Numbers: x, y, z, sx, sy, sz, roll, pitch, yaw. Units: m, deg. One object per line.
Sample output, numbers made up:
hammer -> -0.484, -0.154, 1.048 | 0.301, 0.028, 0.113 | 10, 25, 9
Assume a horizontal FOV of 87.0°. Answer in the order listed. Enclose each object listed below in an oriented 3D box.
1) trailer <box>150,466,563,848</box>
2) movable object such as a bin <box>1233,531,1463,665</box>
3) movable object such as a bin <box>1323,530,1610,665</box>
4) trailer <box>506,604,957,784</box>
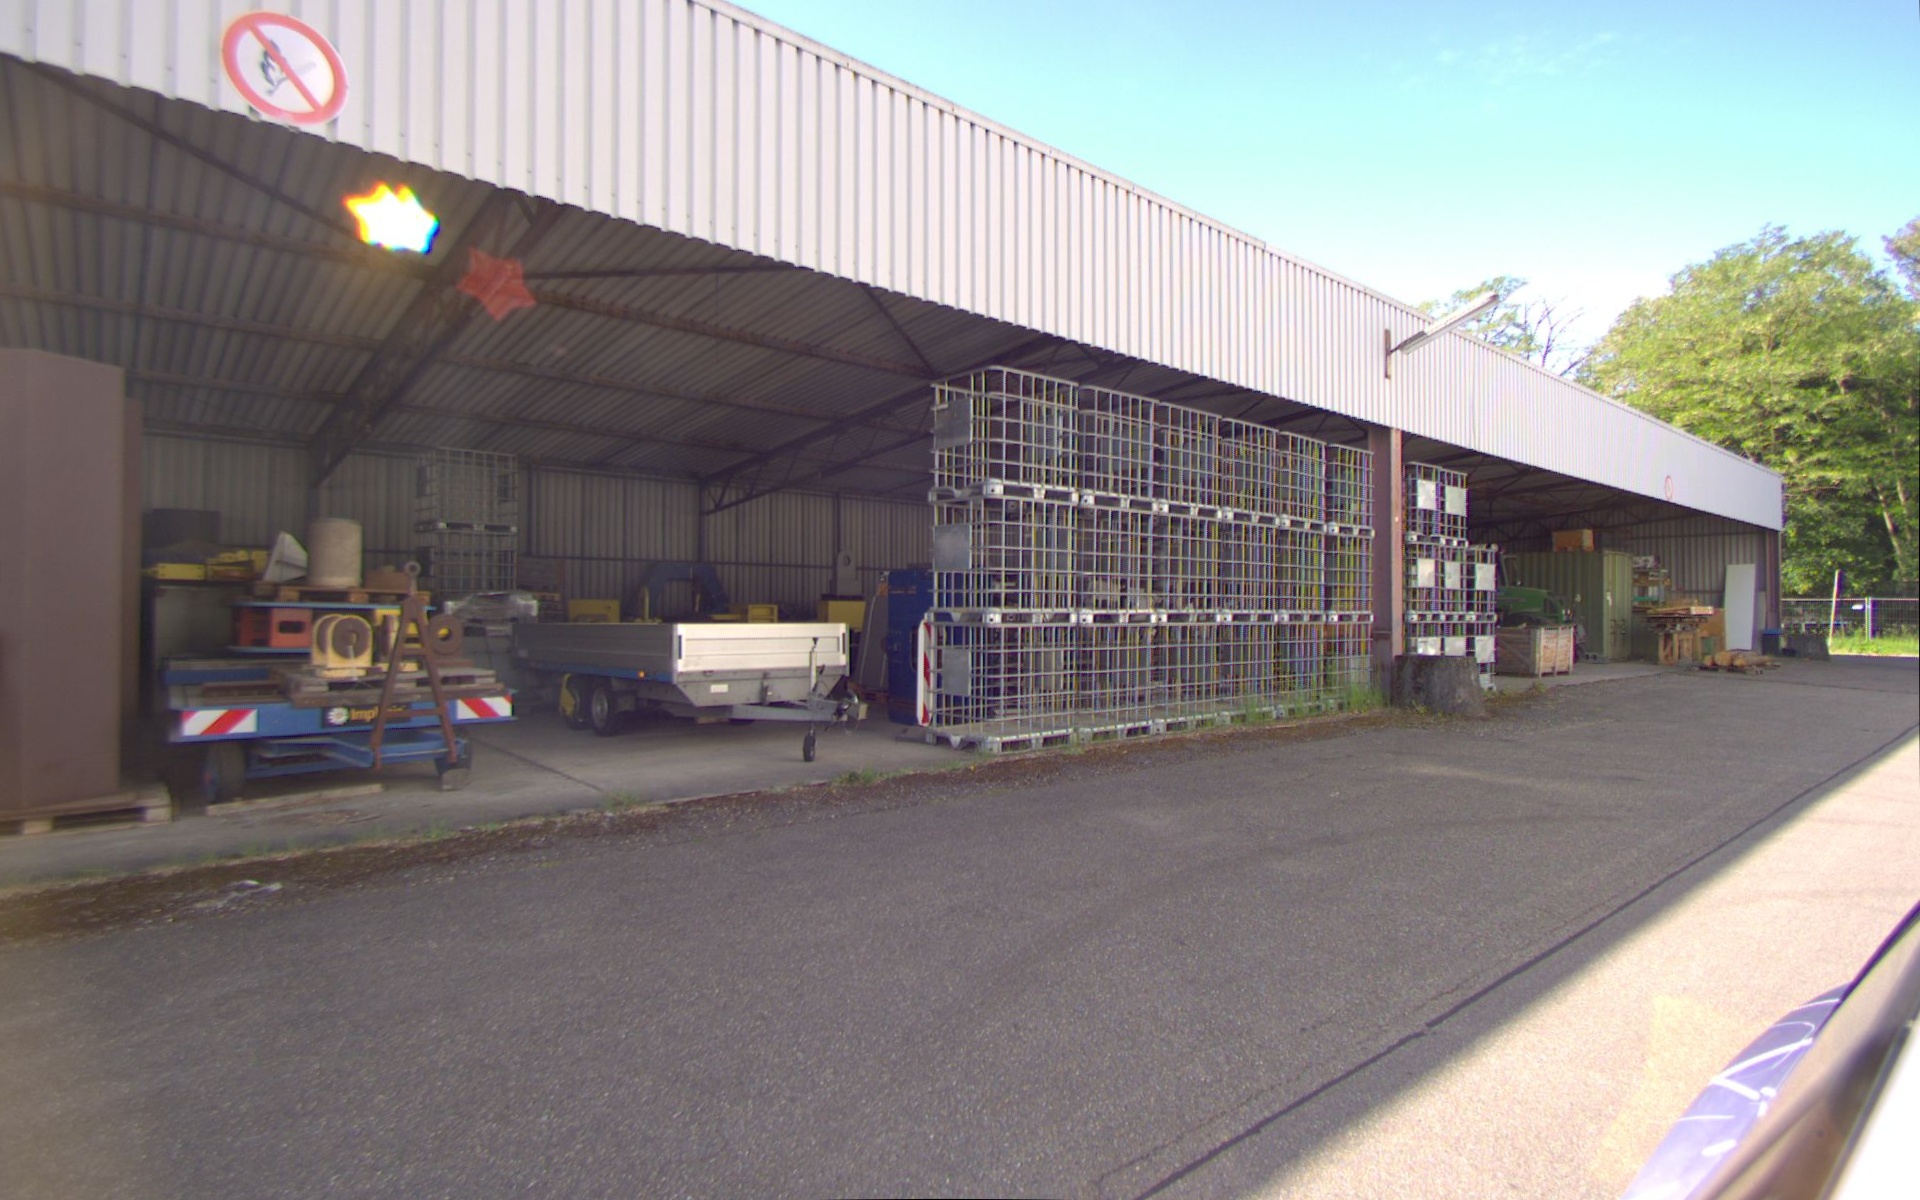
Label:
trailer -> -4.832, 0.265, 7.742 | 2.124, 2.015, 4.433 | 0, 1, -39
movable object such as a bin -> 9.174, -0.025, 24.190 | 2.452, 2.867, 4.535 | 1, -1, -40
movable object such as a bin -> 12.459, -0.050, 25.286 | 2.770, 2.962, 5.845 | 1, -1, -40
trailer -> -2.639, 0.703, 10.221 | 1.940, 1.200, 5.737 | 0, 1, -41
